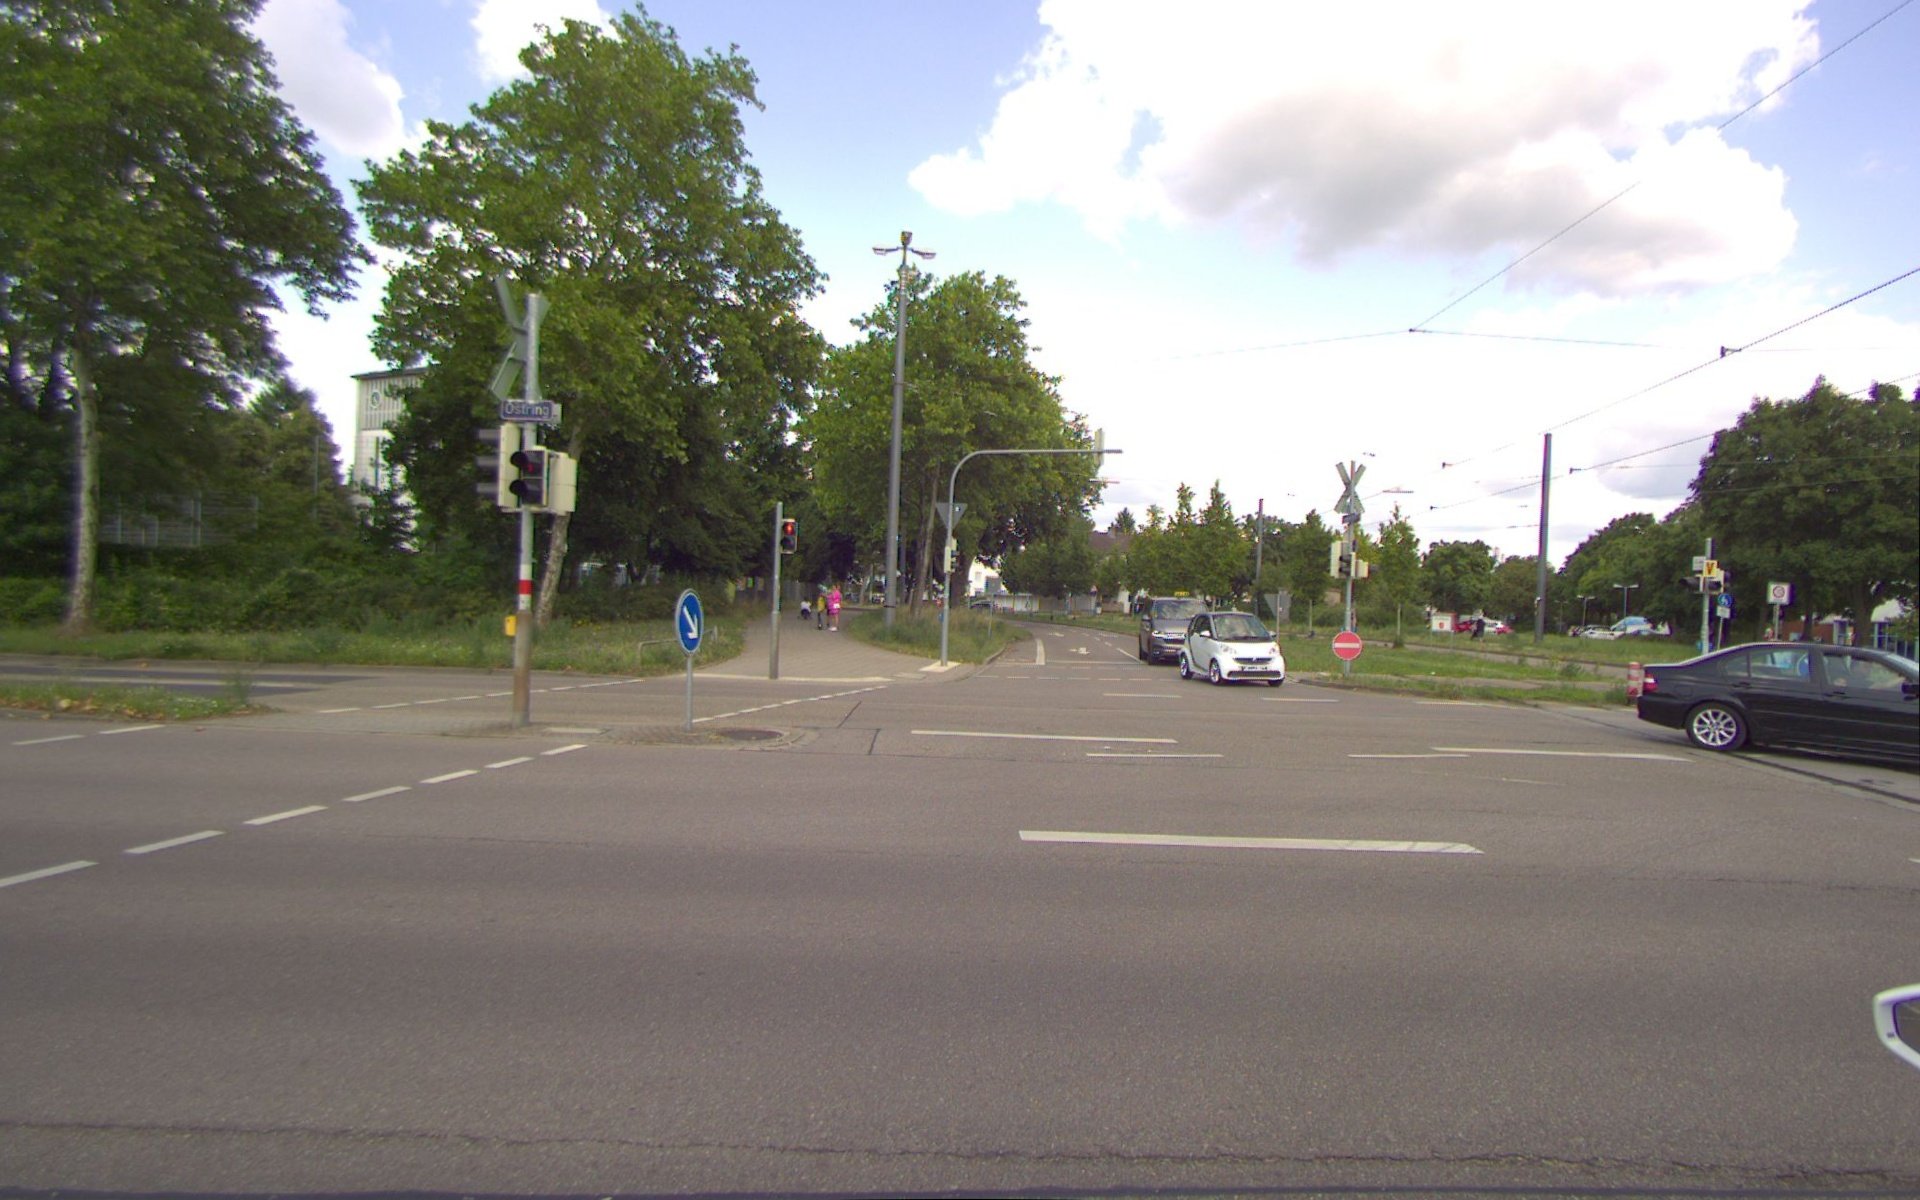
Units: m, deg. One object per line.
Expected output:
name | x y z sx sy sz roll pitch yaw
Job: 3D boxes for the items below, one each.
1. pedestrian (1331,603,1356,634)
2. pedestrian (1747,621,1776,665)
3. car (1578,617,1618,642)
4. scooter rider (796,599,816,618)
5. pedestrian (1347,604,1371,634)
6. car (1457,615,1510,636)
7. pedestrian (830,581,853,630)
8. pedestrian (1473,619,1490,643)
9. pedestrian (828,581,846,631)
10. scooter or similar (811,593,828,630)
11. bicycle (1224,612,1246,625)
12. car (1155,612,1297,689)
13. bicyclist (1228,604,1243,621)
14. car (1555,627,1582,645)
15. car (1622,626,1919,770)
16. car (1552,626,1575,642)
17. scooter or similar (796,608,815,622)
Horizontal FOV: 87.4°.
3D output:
pedestrian | 26.673 1.277 69.874 1.086 2.040 1.176 2 0 -7
pedestrian | 31.143 1.675 39.034 0.602 1.666 0.636 0 0 -13
car | 46.186 2.134 72.798 1.963 1.662 4.386 2 0 26
scooter rider | -6.091 0.332 39.732 0.600 0.738 0.859 0 0 2
pedestrian | 27.819 1.341 70.070 1.086 2.040 1.176 2 0 -6
car | 44.869 2.172 86.120 3.926 1.550 1.998 2 0 27
pedestrian | -4.076 0.188 34.540 0.620 1.641 0.611 1 0 10
pedestrian | 29.916 1.781 57.618 0.638 1.372 0.752 0 0 1
pedestrian | -4.157 0.205 33.898 0.413 1.641 0.596 1 0 10
scooter or similar | -4.740 0.379 33.929 0.315 1.248 0.776 0 0 12
bicycle | 24.769 1.684 90.437 0.937 1.054 1.975 2 0 -19
car | 5.904 1.069 22.864 1.777 1.450 4.380 2 0 -4
bicyclist | 24.806 1.148 90.310 0.948 1.509 0.832 2 0 -20
car | 61.039 3.553 100.821 1.963 1.662 4.386 2 0 26
car | 10.843 1.173 12.110 1.797 1.450 4.418 4 -1 -39
car | 71.373 4.012 118.826 1.963 1.662 4.386 2 0 26
scooter or similar | -6.095 0.584 39.735 0.599 0.518 0.858 0 0 2
